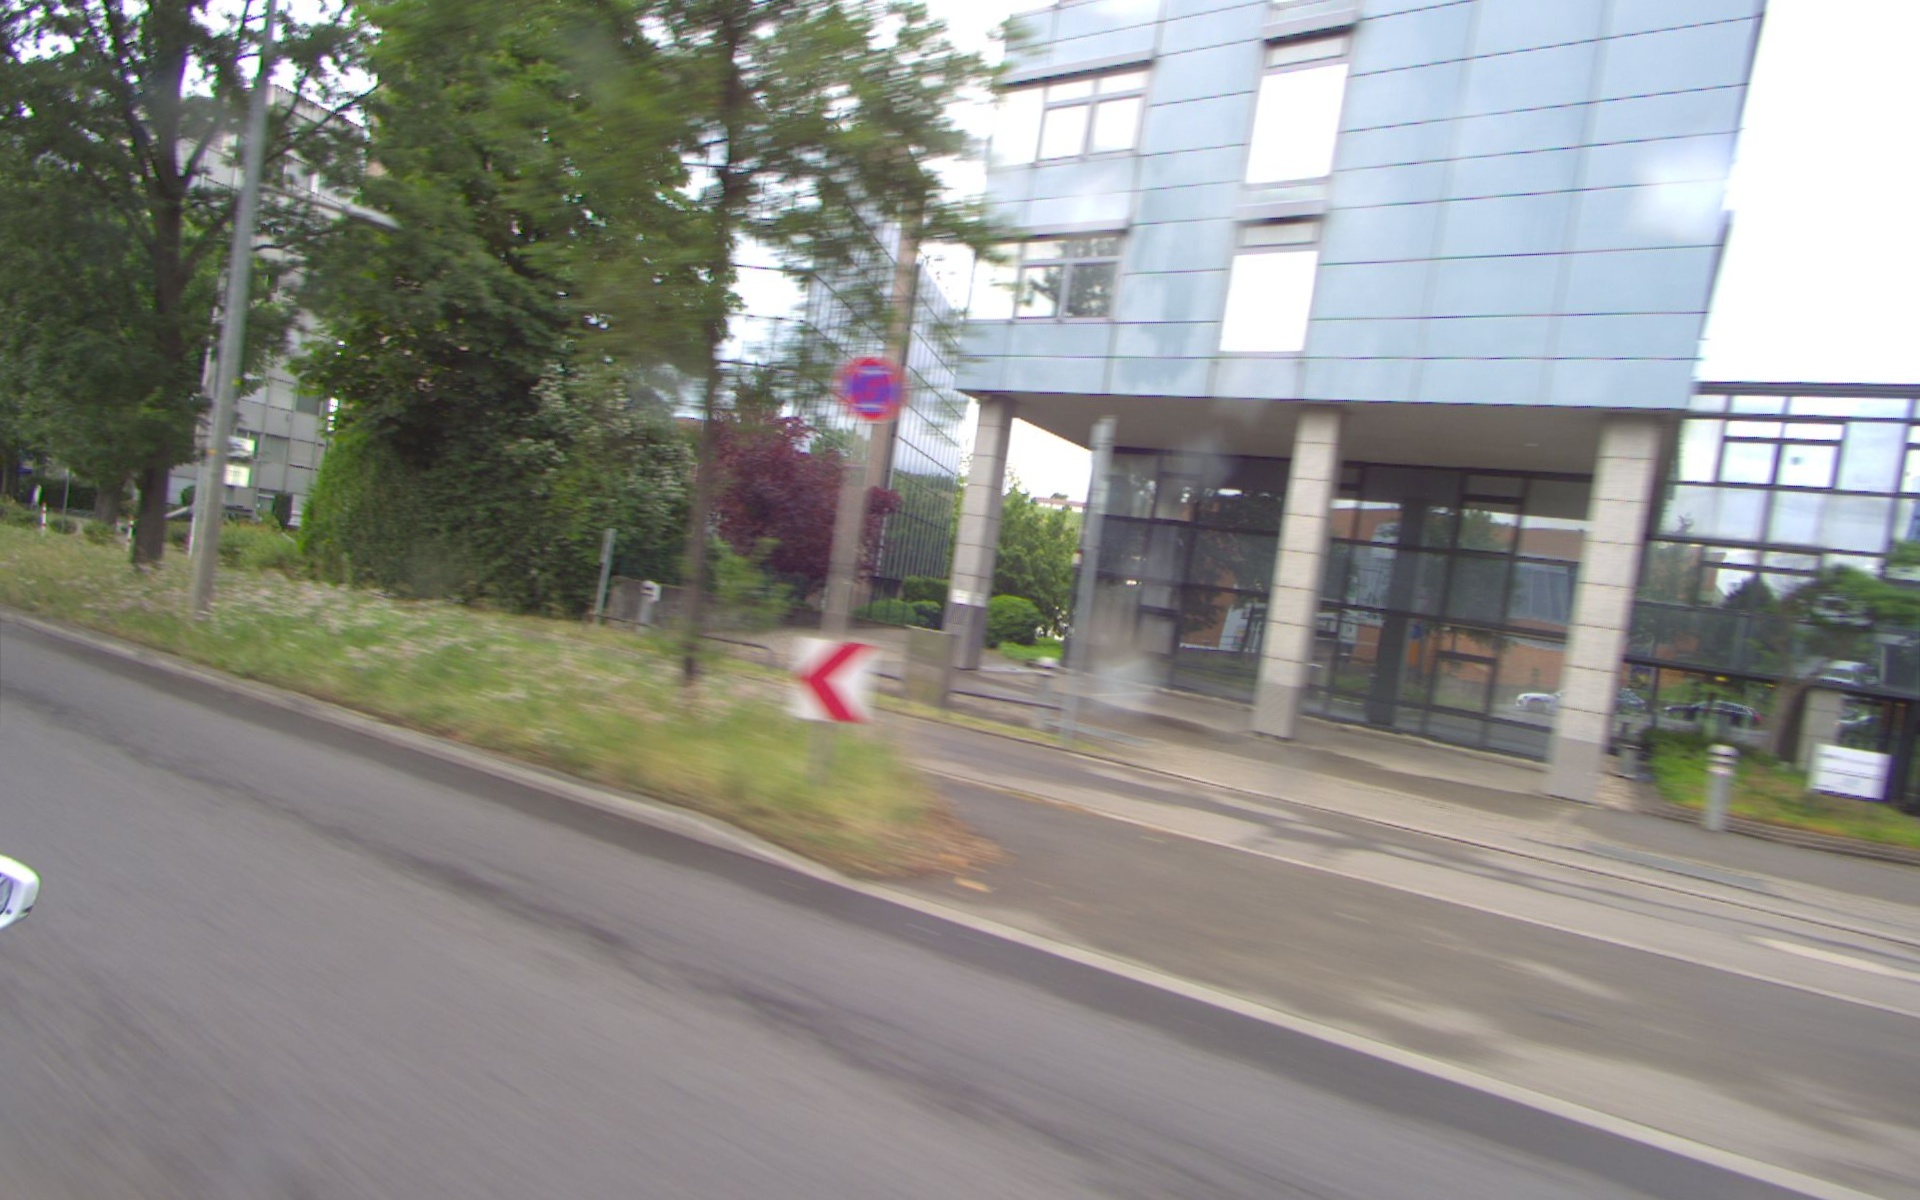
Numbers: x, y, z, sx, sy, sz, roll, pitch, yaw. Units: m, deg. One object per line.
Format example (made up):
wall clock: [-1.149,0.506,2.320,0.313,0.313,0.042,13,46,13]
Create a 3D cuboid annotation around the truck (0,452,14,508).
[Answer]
truck: [-46.740,-5.837,47.415,3.931,2.547,1.750,7,-1,28]
